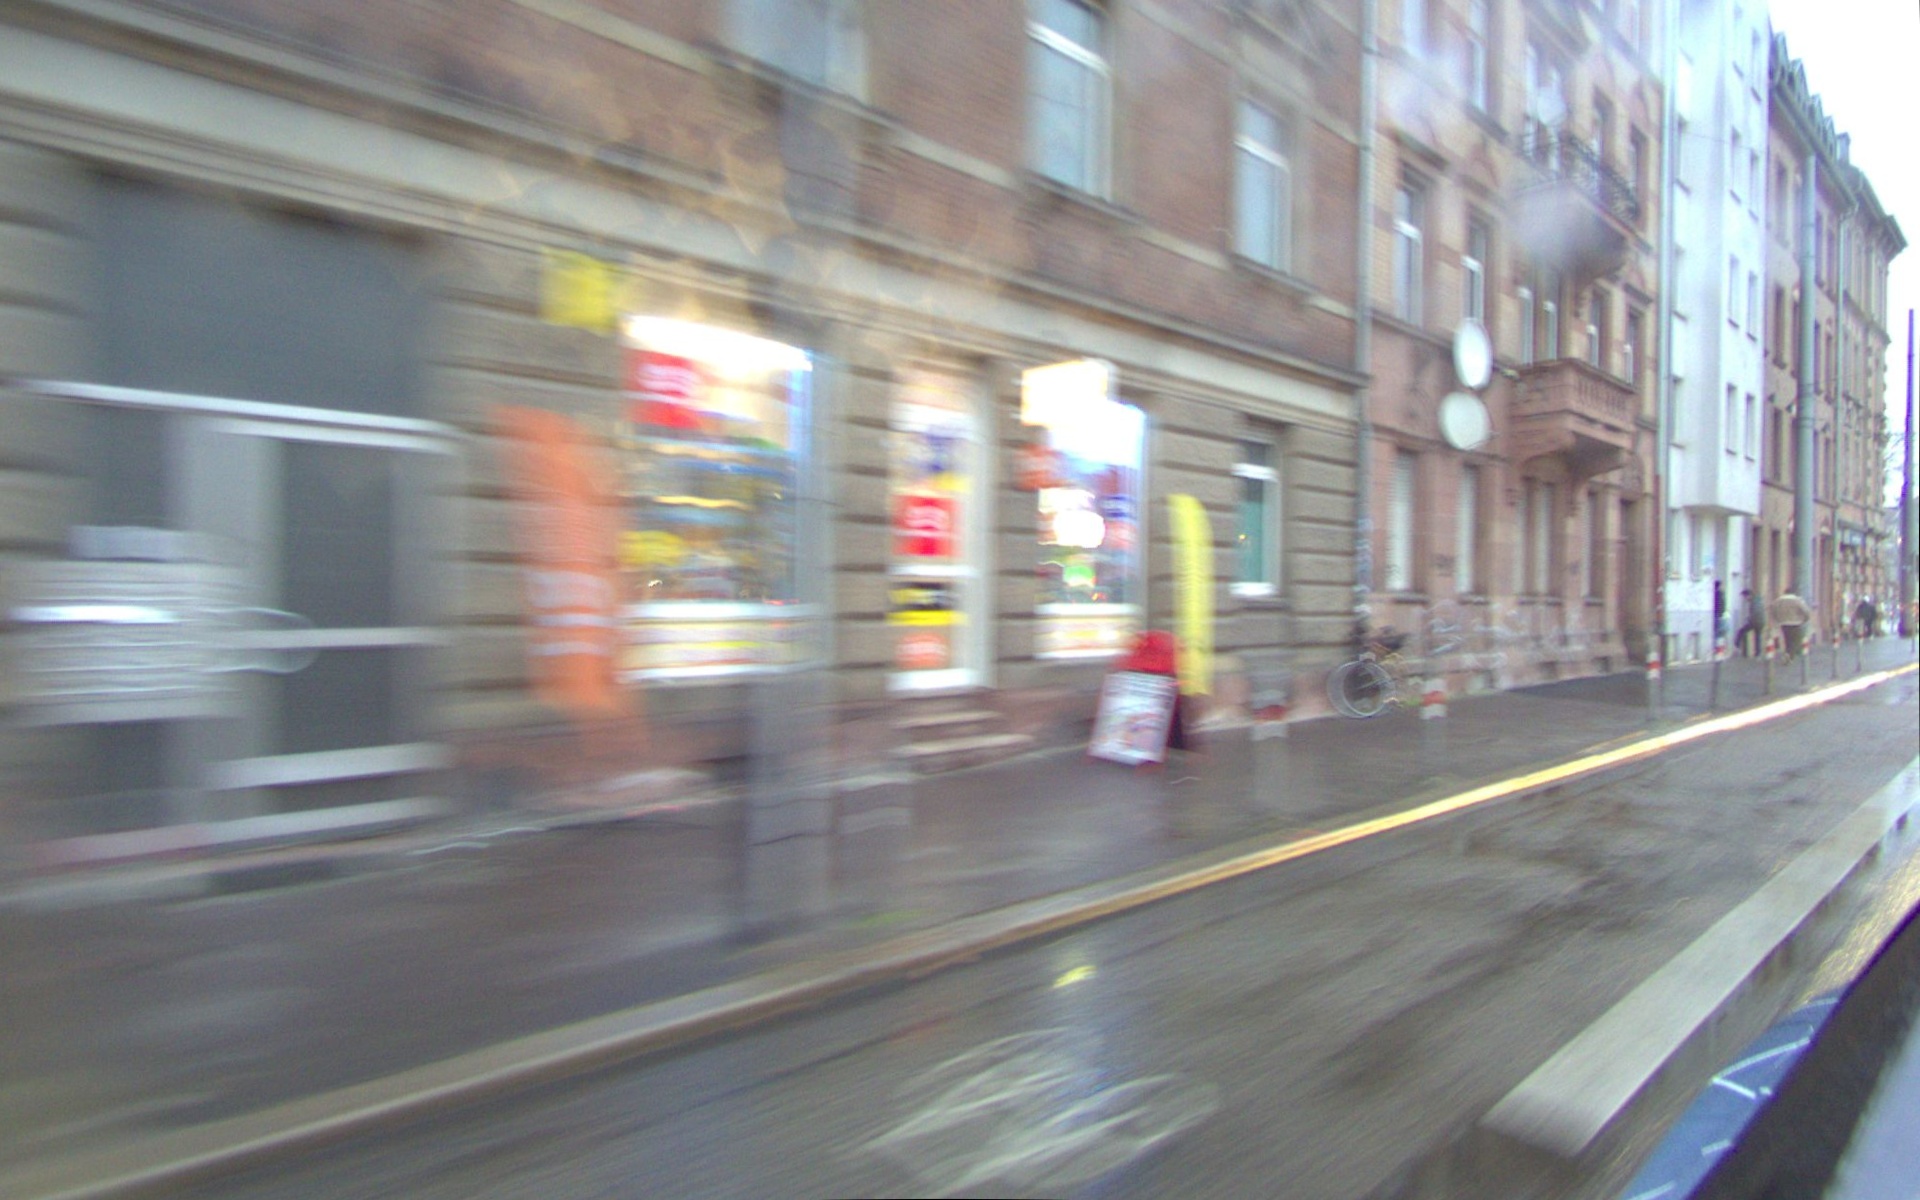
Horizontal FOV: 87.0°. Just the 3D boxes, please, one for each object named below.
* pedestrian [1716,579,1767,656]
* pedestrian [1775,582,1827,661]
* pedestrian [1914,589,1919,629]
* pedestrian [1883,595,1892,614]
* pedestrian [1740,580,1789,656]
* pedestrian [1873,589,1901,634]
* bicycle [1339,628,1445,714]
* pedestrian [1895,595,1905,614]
[{"bbox_3d":[18.226,0.394,23.609,0.661,1.766,0.777,0,1,-40],"label":"pedestrian"},{"bbox_3d":[19.361,0.486,23.297,0.661,1.766,0.777,0,1,-40],"label":"pedestrian"},{"bbox_3d":[43.814,0.411,45.819,0.697,1.847,0.753,0,0,-37],"label":"pedestrian"},{"bbox_3d":[90.065,0.439,98.267,0.635,1.784,0.504,1,0,38],"label":"pedestrian"},{"bbox_3d":[19.471,0.420,24.486,0.661,1.766,0.777,0,1,-40],"label":"pedestrian"},{"bbox_3d":[32.333,0.393,35.291,0.698,1.567,0.633,0,1,-41],"label":"pedestrian"},{"bbox_3d":[5.221,0.820,12.177,1.834,0.922,0.398,0,1,-41],"label":"bicycle"},{"bbox_3d":[90.765,0.450,97.702,0.635,1.784,0.504,1,0,38],"label":"pedestrian"}]
